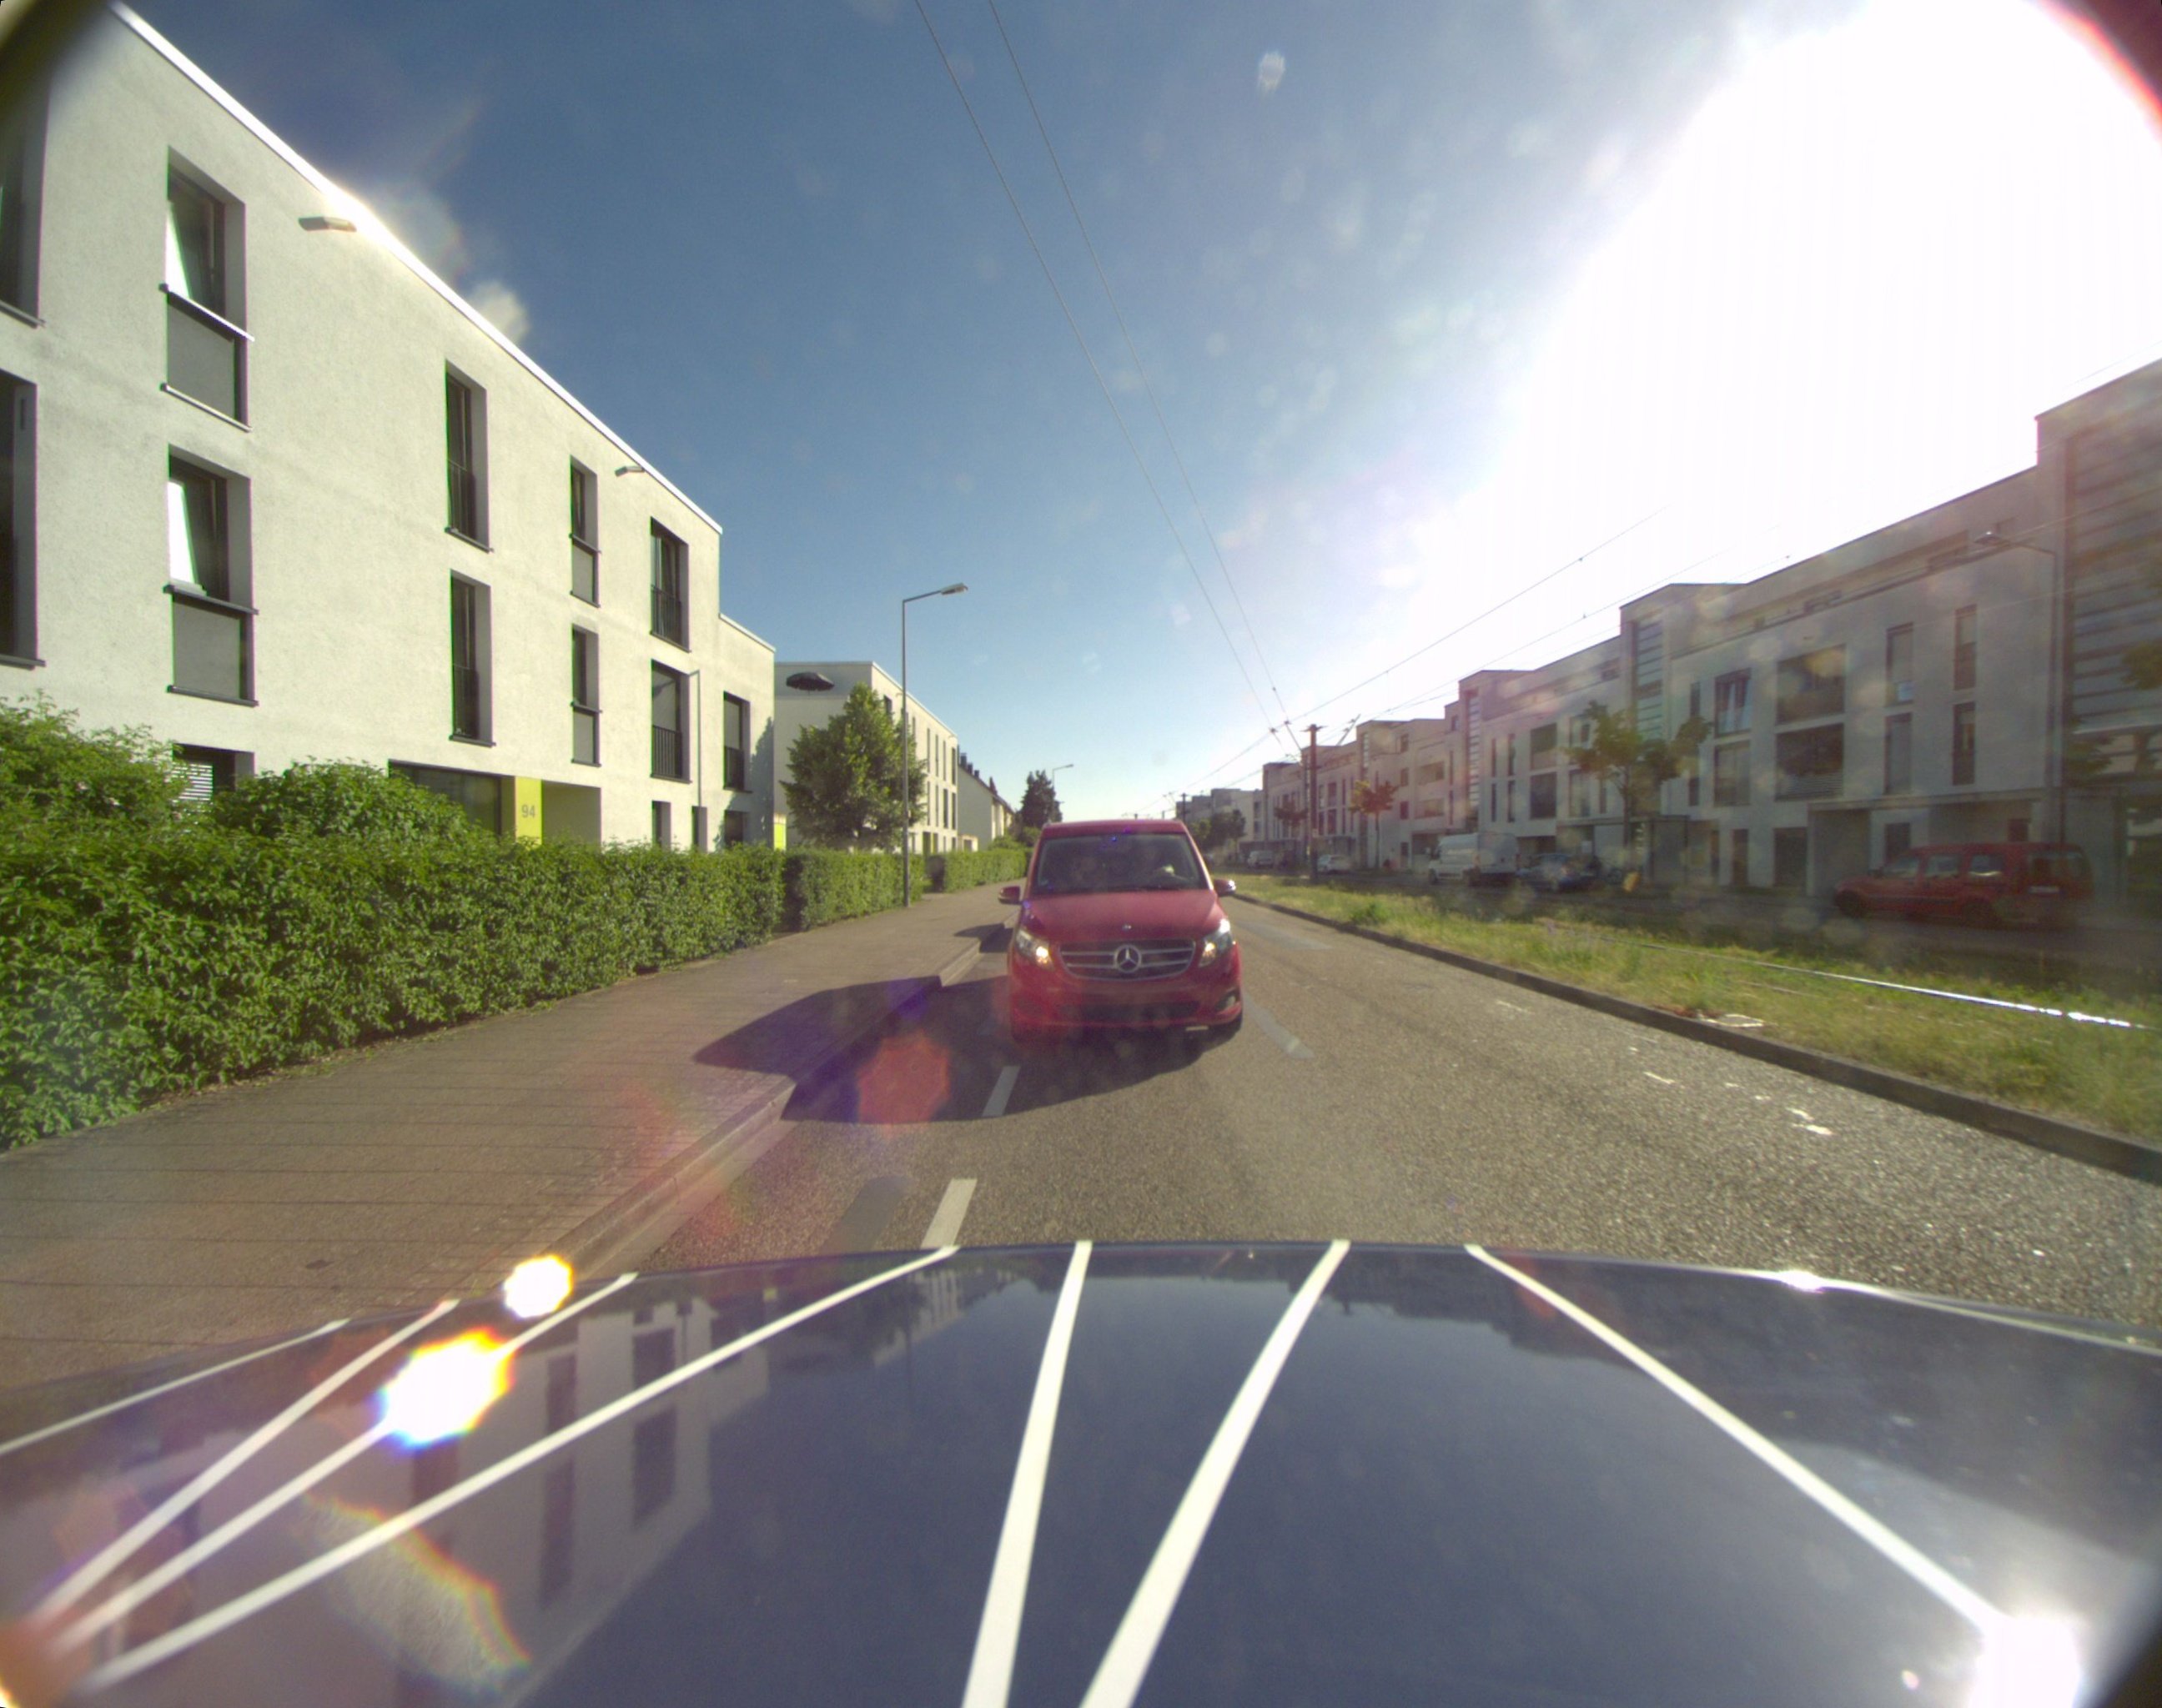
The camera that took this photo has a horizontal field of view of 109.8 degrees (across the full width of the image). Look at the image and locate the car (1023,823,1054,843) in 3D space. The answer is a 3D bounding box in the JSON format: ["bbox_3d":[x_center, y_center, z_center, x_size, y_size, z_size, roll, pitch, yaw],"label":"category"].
[{"bbox_3d":[-5.132,-2.518,92.598,3.182,2.333,6.175,-2,1,2],"label":"car"}]

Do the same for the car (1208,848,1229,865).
[{"bbox_3d":[17.597,0.283,97.553,1.787,2.002,3.999,-2,1,-2],"label":"car"}]

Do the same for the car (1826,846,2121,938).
[{"bbox_3d":[18.838,0.692,16.367,1.793,1.713,3.908,1,1,2],"label":"car"}]

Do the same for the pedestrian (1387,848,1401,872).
[{"bbox_3d":[21.465,0.413,52.074,0.619,1.634,0.612,-2,1,-6],"label":"pedestrian"}]

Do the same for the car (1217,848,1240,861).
[{"bbox_3d":[17.544,0.045,90.303,1.867,1.430,3.496,-2,1,-2],"label":"car"}]

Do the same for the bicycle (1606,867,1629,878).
[{"bbox_3d":[25.604,0.861,36.247,0.354,0.495,1.061,0,0,0],"label":"bicycle"}]

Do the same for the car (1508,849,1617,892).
[{"bbox_3d":[18.932,0.605,30.090,1.934,1.604,3.836,0,1,1],"label":"car"}]

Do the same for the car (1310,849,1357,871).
[{"bbox_3d":[19.040,0.451,57.425,2.047,1.577,4.120,0,0,-2],"label":"car"}]

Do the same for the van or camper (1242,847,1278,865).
[{"bbox_3d":[18.533,0.166,78.899,2.272,1.838,6.285,-1,0,0],"label":"van or camper"}]

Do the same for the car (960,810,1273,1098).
[{"bbox_3d":[0.334,0.700,7.858,2.127,1.958,5.084,-2,0,2],"label":"car"}]

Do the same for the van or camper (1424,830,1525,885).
[{"bbox_3d":[18.917,0.146,36.841,2.197,2.450,5.259,0,1,1],"label":"van or camper"}]
